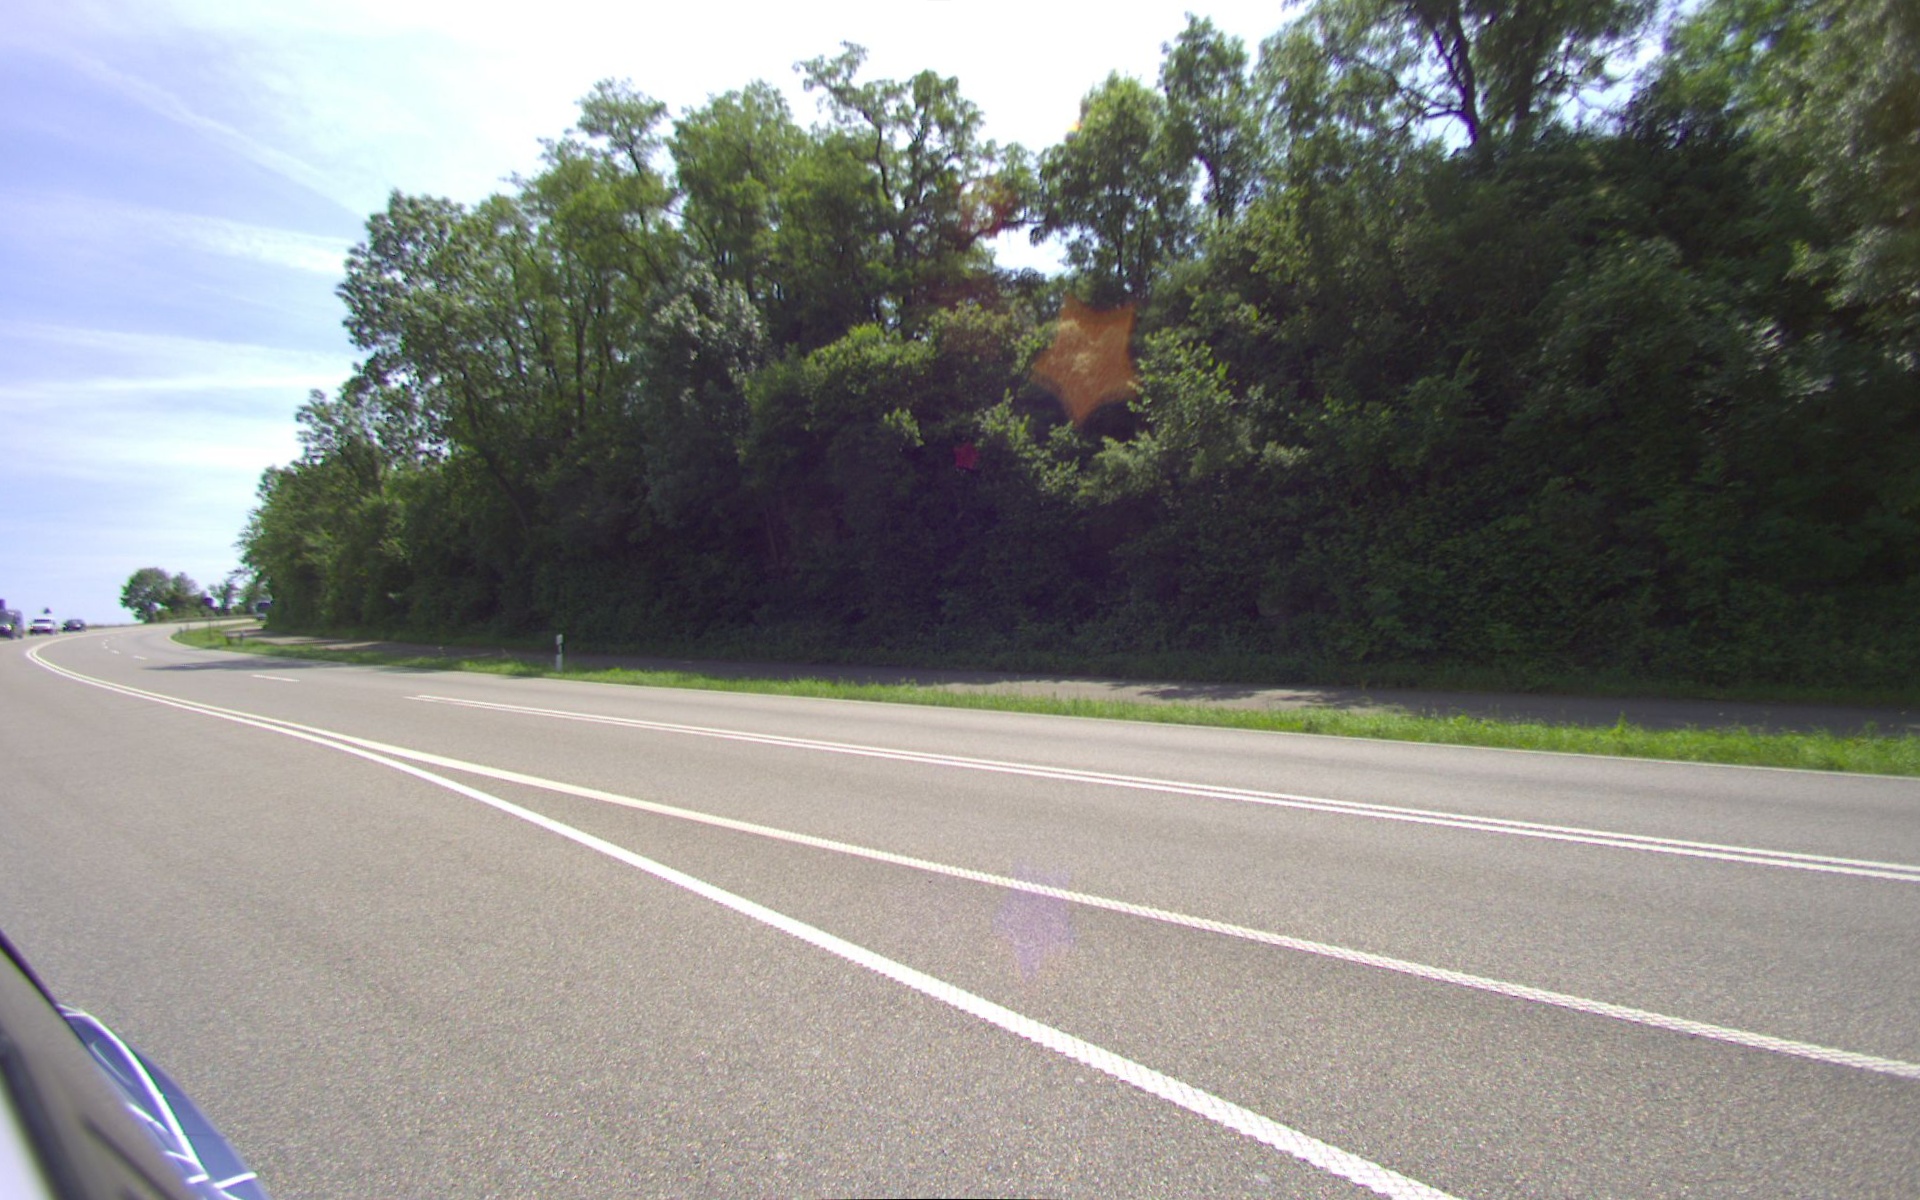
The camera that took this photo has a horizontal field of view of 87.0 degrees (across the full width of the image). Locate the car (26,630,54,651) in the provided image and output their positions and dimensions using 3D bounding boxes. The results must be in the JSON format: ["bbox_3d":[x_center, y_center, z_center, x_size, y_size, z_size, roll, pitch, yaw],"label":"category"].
[{"bbox_3d":[-95.267,4.161,104.845,1.823,2.029,3.880,0,0,-38],"label":"car"}]

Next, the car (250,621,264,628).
[{"bbox_3d":[-130.470,4.560,187.894,1.778,1.398,3.882,-1,-1,-30],"label":"car"}]

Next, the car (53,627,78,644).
[{"bbox_3d":[-105.273,4.177,119.131,1.738,1.874,3.819,0,0,-35],"label":"car"}]
